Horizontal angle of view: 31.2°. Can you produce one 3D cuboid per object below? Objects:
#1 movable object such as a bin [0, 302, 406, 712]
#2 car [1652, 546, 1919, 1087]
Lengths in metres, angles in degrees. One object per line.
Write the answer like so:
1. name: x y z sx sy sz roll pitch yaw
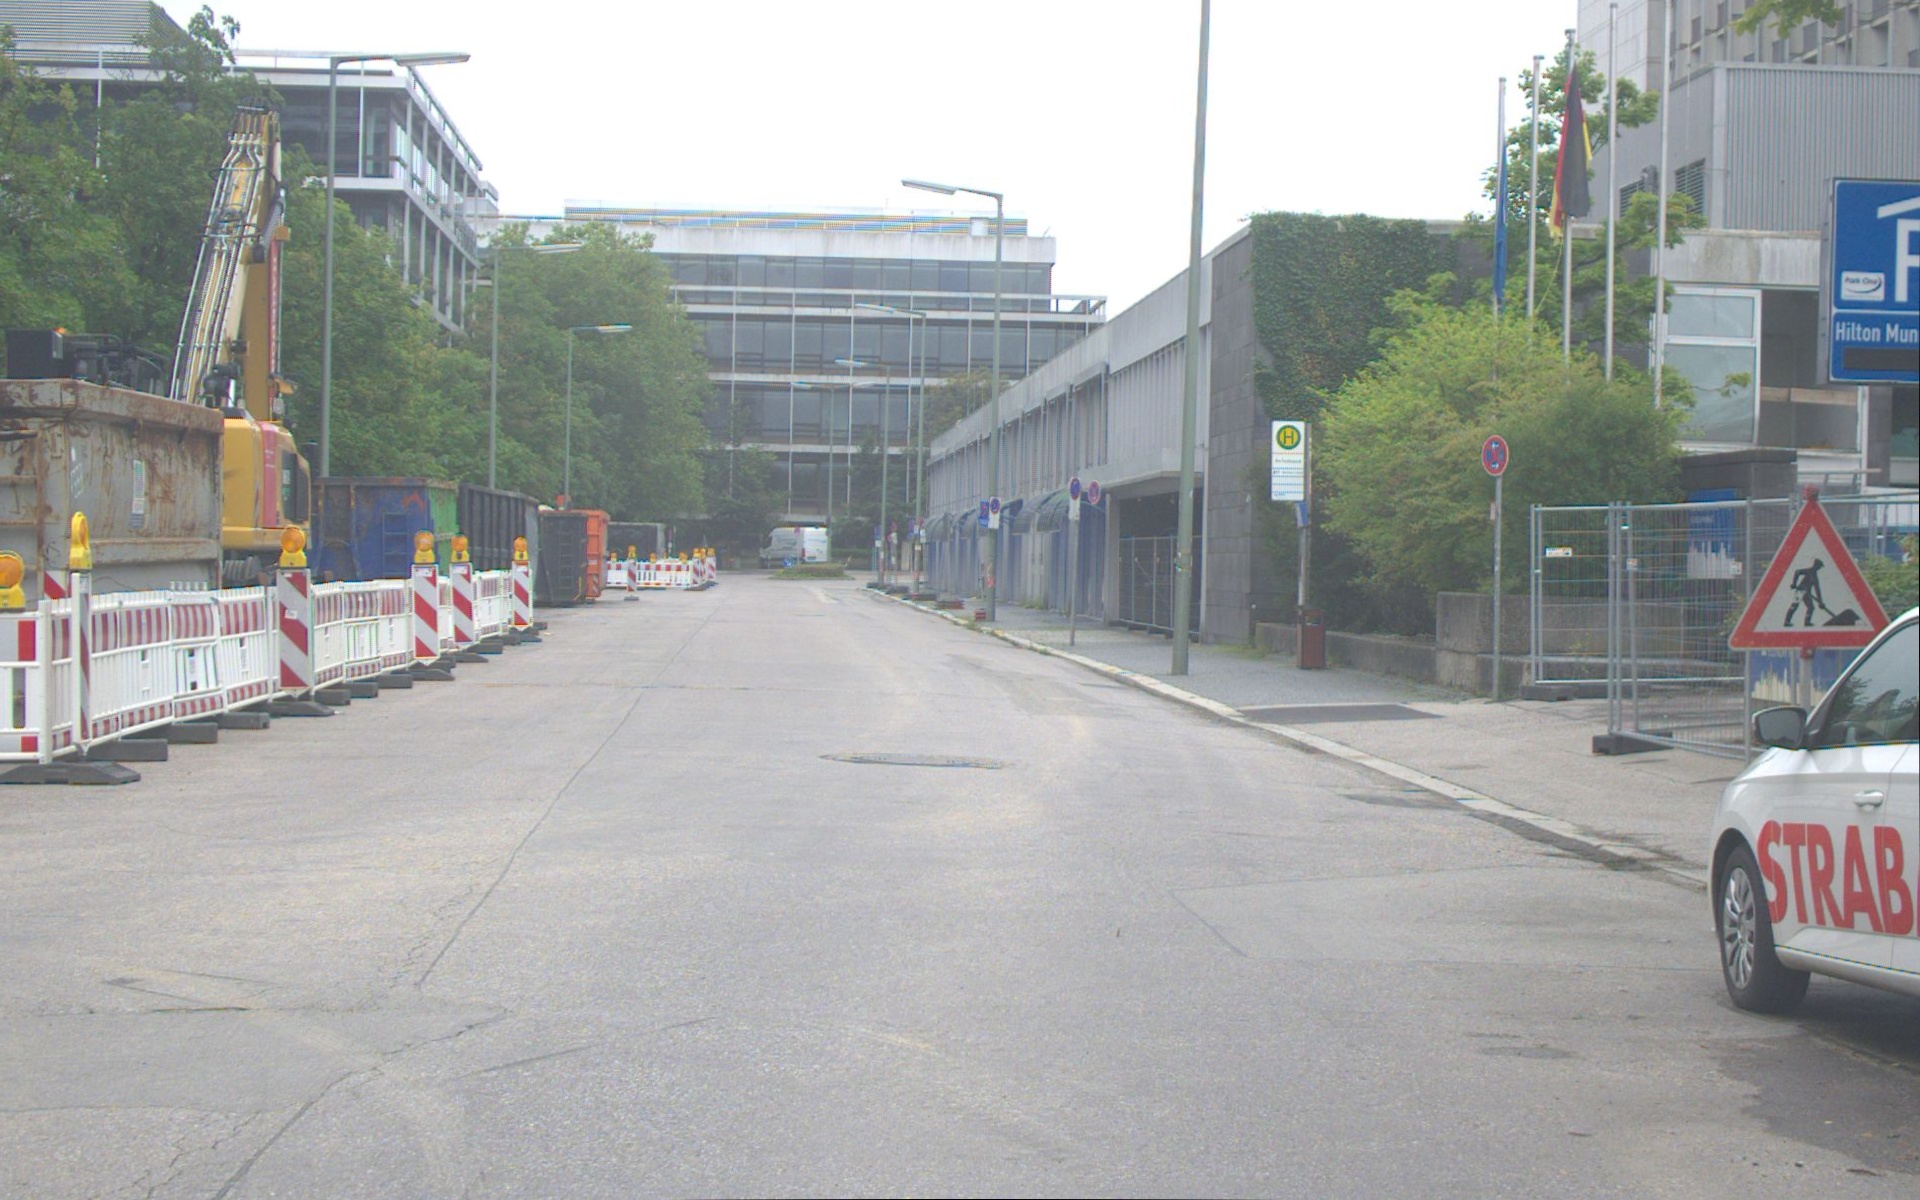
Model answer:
1. movable object such as a bin: -8.012 -0.972 35.692 3.241 3.704 9.009 0 2 -1
2. car: 3.614 0.629 10.499 1.776 1.544 4.258 1 1 -5
